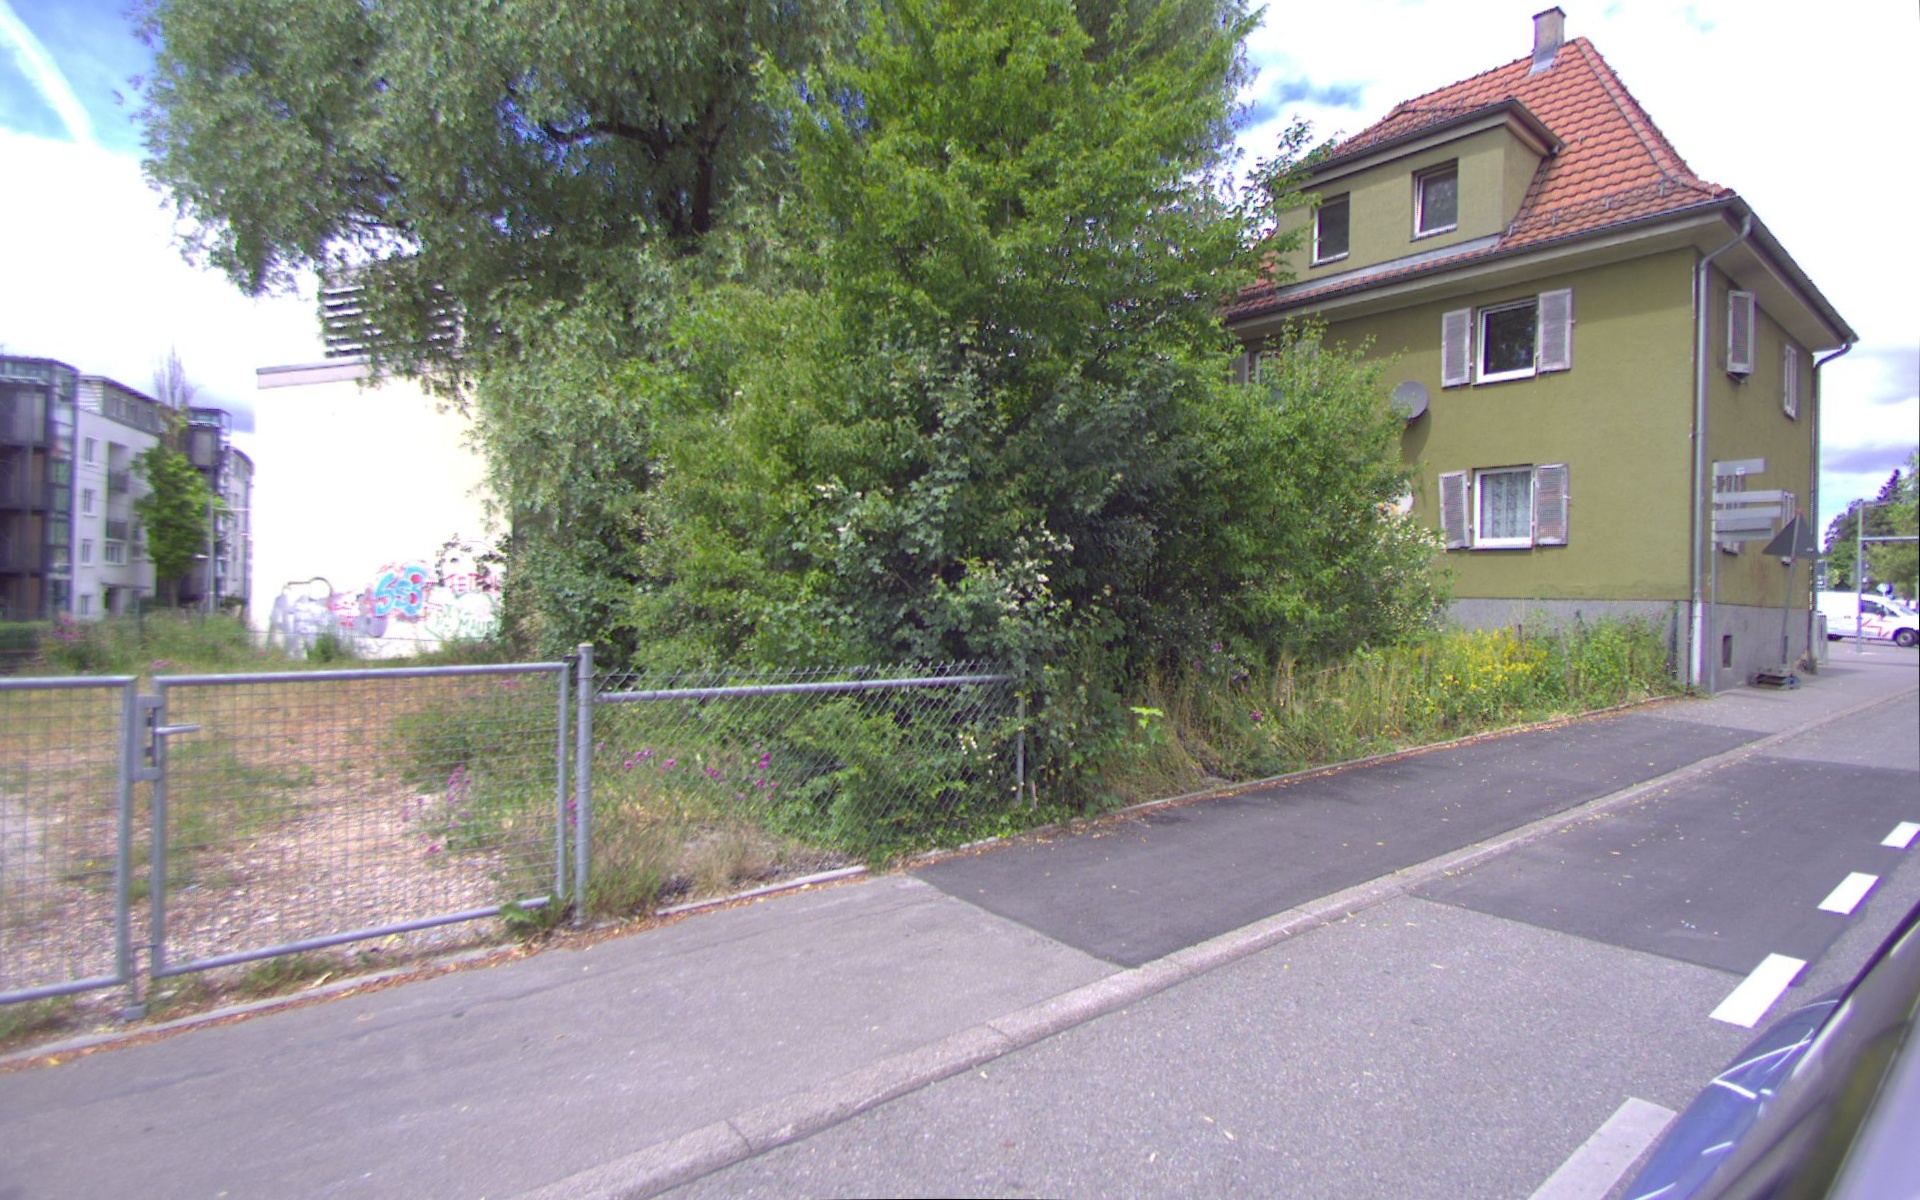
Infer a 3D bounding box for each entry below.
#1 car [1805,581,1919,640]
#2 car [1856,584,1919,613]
[{"bbox_3d":[33.684,0.347,36.601,1.959,2.019,4.378,0,1,-28],"label":"car"},{"bbox_3d":[65.373,-0.119,70.351,1.763,1.820,4.512,1,2,-9],"label":"car"}]
